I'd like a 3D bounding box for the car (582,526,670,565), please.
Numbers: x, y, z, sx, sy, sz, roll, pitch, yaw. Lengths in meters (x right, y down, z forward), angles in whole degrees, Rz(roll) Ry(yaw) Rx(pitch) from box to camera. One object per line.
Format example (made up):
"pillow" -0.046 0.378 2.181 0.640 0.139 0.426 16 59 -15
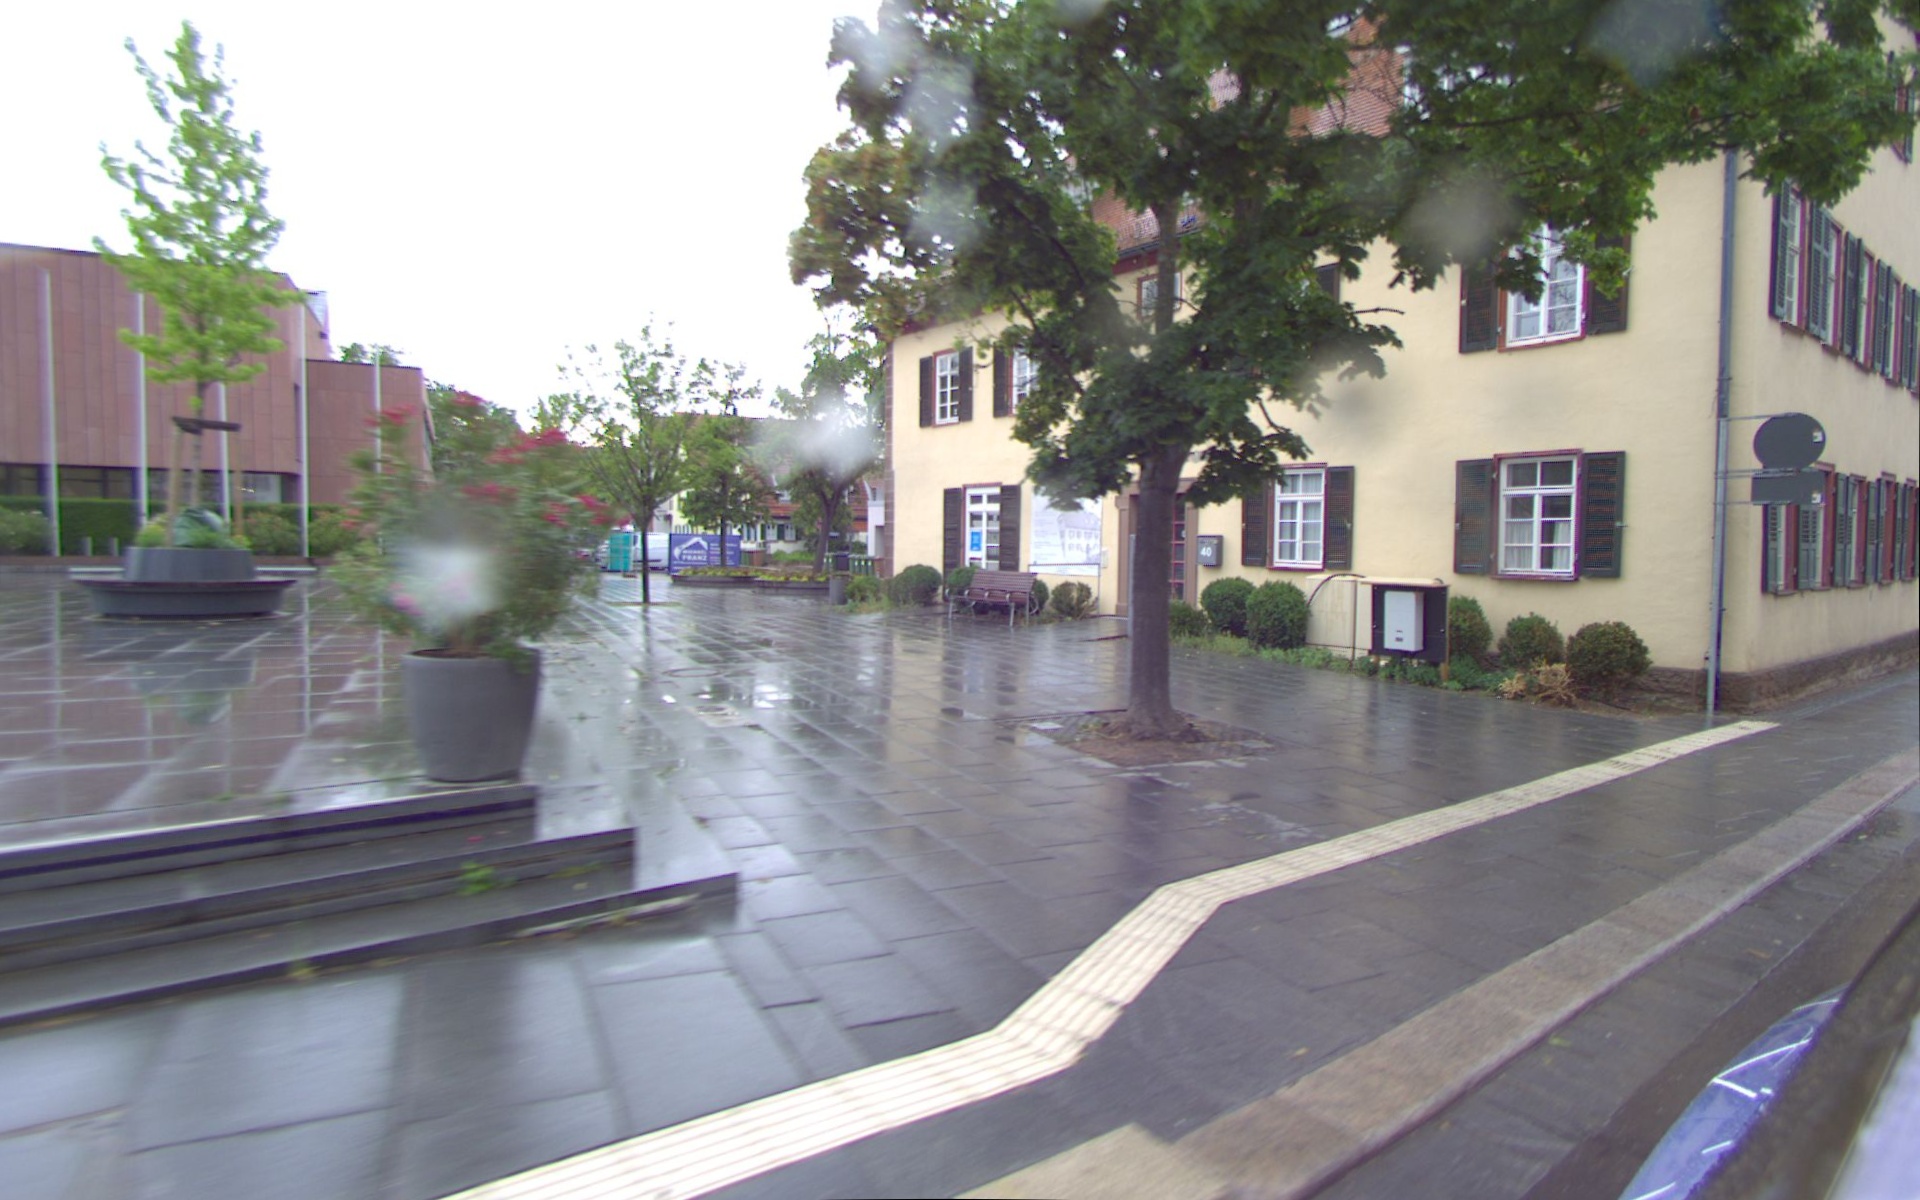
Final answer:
"car" -16.765 -2.730 50.872 3.920 1.793 1.722 0 4 -30
